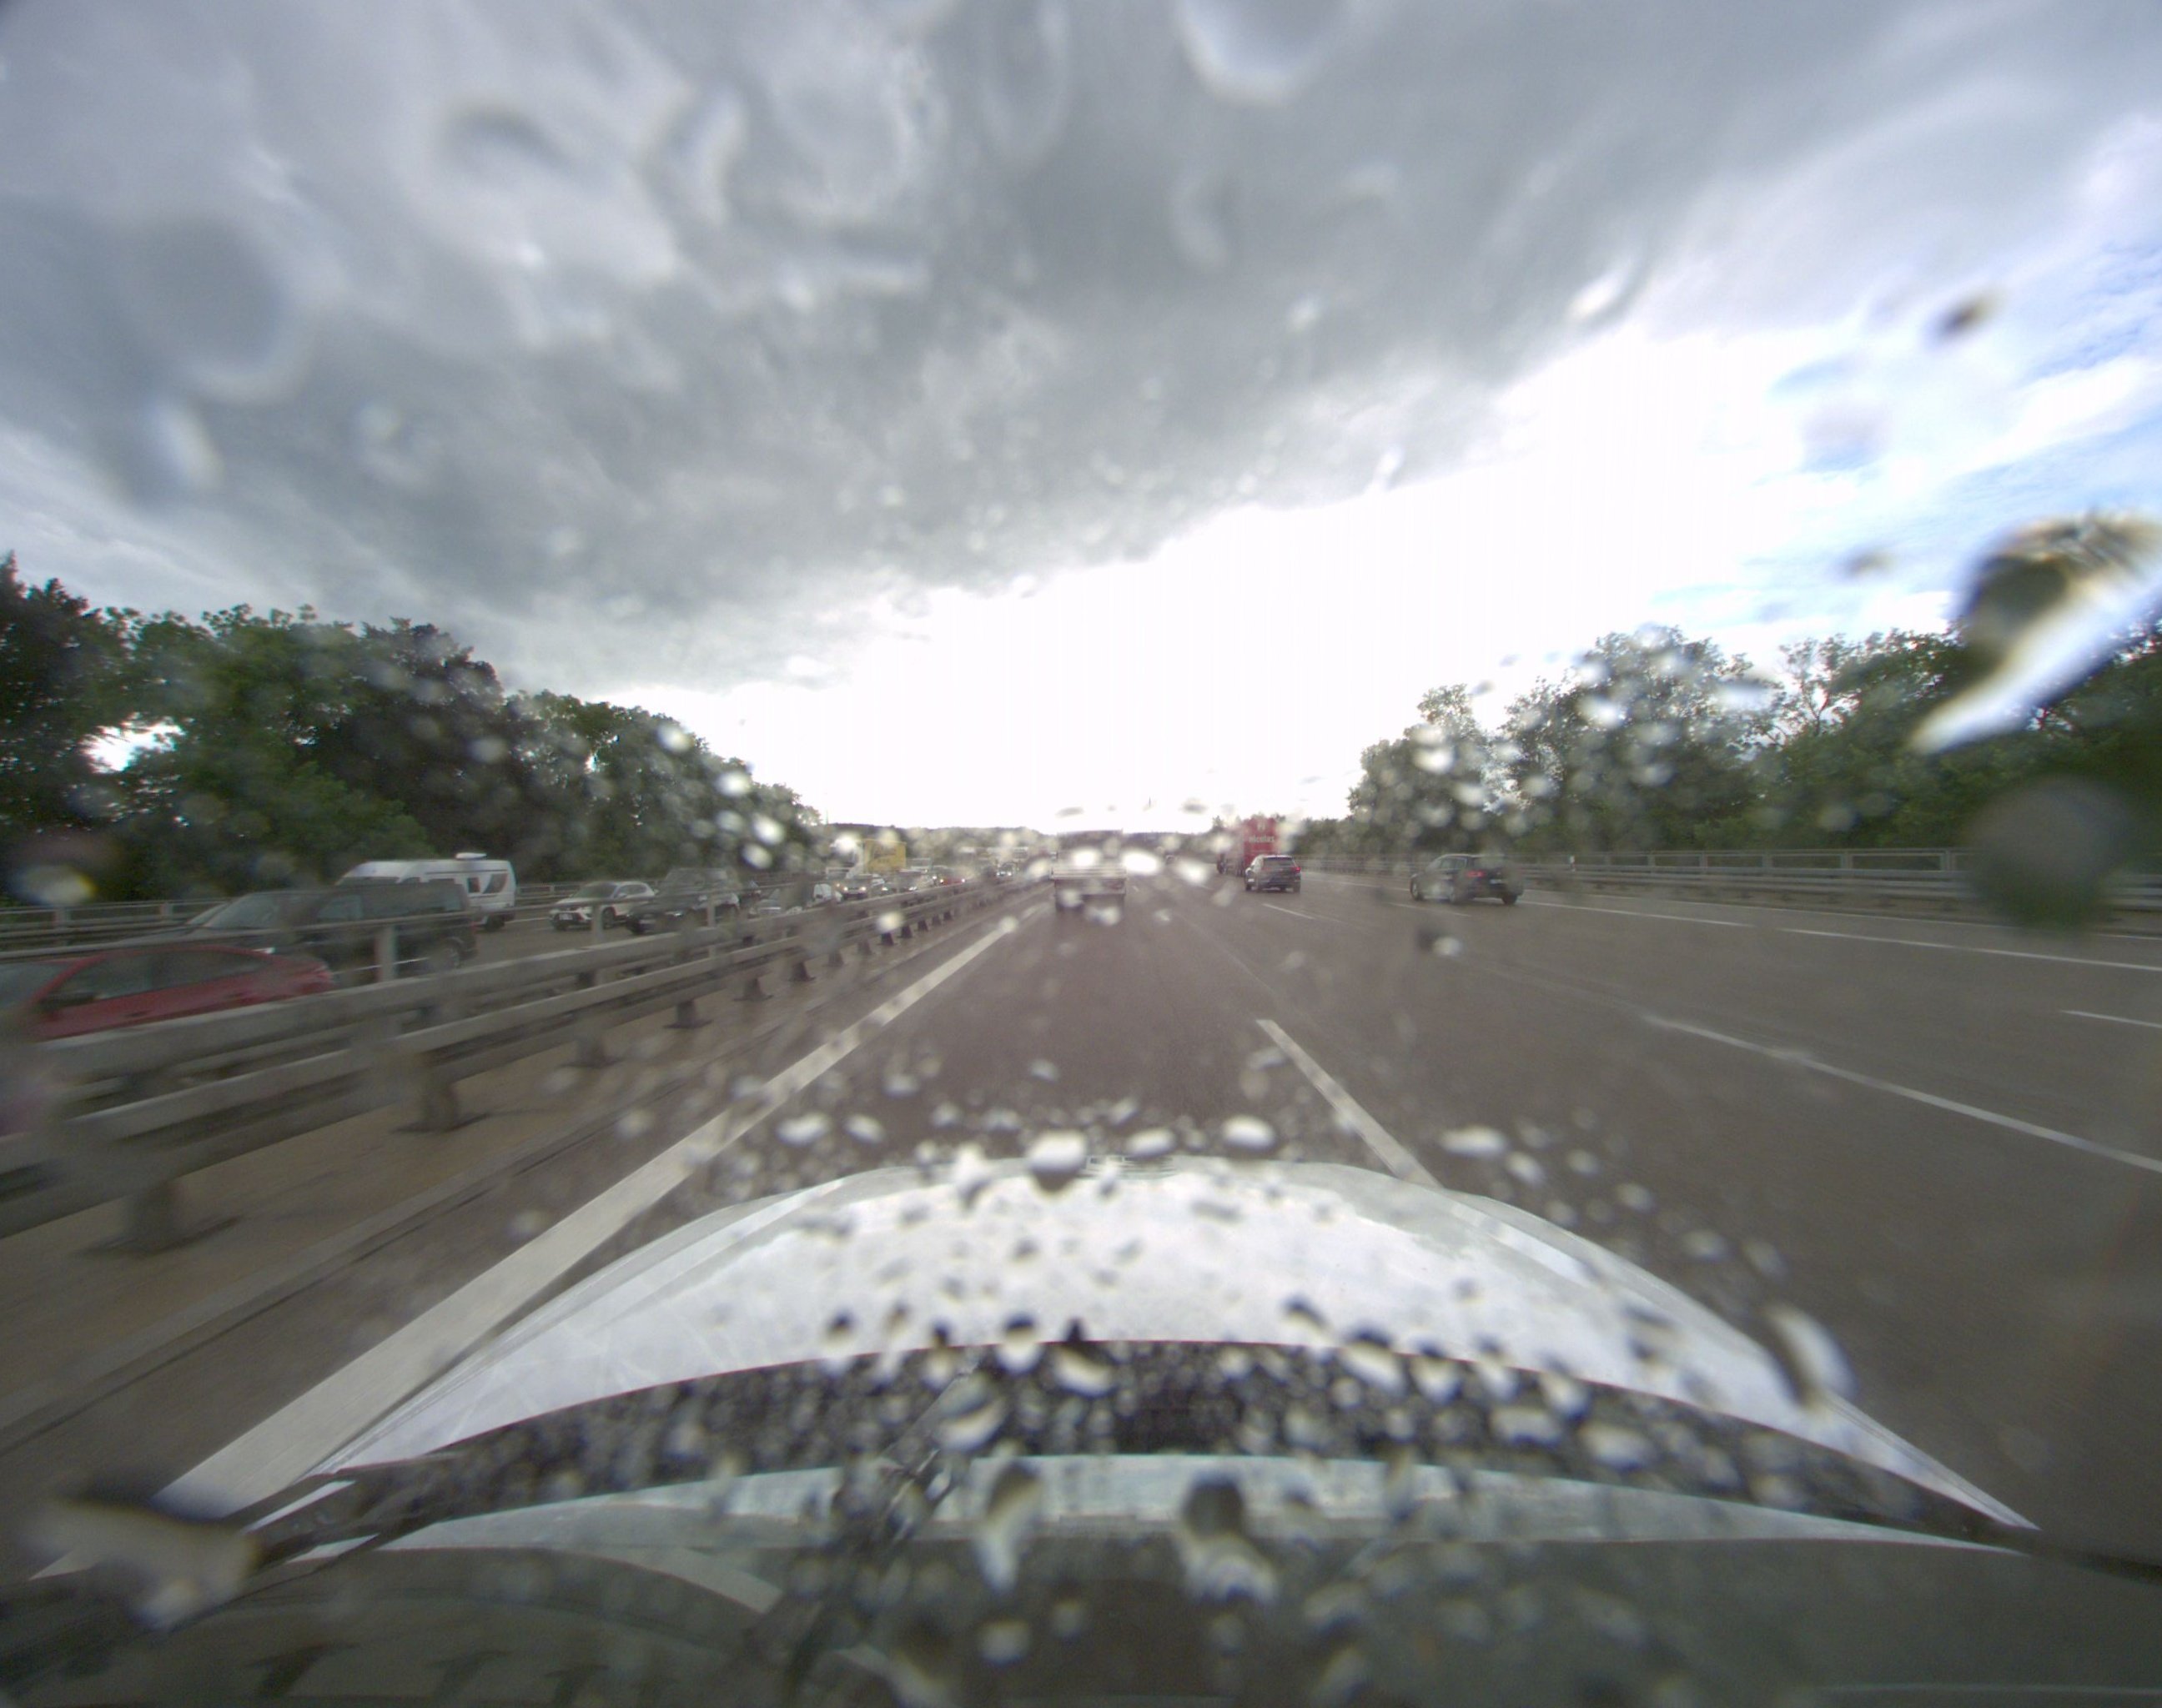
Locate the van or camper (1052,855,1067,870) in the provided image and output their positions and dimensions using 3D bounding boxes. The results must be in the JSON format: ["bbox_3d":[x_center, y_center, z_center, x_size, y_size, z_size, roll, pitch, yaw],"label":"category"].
[{"bbox_3d":[-3.898,1.577,148.311,2.269,2.496,7.306,-2,-1,2],"label":"van or camper"}]

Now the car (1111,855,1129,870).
[{"bbox_3d":[4.602,0.943,95.653,2.036,1.699,4.004,-1,0,4],"label":"car"}]

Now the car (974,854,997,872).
[{"bbox_3d":[-13.596,1.251,116.859,2.147,2.504,6.776,-2,-1,2],"label":"car"}]

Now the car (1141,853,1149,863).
[{"bbox_3d":[17.345,1.062,221.905,2.036,2.498,4.004,-1,0,4],"label":"car"}]

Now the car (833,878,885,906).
[{"bbox_3d":[-12.986,2.203,47.911,1.811,1.425,4.475,-2,-1,-1],"label":"car"}]

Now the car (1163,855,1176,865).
[{"bbox_3d":[16.336,1.129,150.479,2.038,1.699,5.007,-1,0,1],"label":"car"}]

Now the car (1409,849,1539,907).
[{"bbox_3d":[11.556,0.653,24.329,1.808,1.543,4.358,-1,0,1],"label":"car"}]

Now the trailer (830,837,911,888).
[{"bbox_3d":[-19.551,0.805,77.033,3.235,4.228,14.517,-2,-1,2],"label":"trailer"}]

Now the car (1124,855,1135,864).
[{"bbox_3d":[10.032,1.135,167.835,1.965,1.699,4.000,-1,0,1],"label":"car"}]

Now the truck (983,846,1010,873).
[{"bbox_3d":[-13.334,0.847,129.332,2.891,4.147,7.109,-2,-1,4],"label":"truck"}]

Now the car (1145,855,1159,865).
[{"bbox_3d":[12.550,1.124,143.619,2.090,1.699,4.000,-1,0,1],"label":"car"}]

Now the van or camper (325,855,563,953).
[{"bbox_3d":[-20.802,1.459,27.270,2.194,2.765,7.230,-2,0,0],"label":"van or camper"}]

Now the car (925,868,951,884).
[{"bbox_3d":[-14.604,2.264,83.373,1.742,1.479,4.418,-2,-1,1],"label":"car"}]

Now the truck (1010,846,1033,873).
[{"bbox_3d":[-9.725,0.871,133.754,2.869,4.180,7.561,-2,-1,2],"label":"truck"}]

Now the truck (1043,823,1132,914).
[{"bbox_3d":[0.222,0.394,25.346,2.345,2.408,7.358,-1,0,1],"label":"truck"}]

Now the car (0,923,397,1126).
[{"bbox_3d":[-10.085,1.640,8.174,1.868,1.392,5.364,-2,0,0],"label":"car"}]

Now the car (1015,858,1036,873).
[{"bbox_3d":[-6.799,1.405,100.348,1.906,1.766,5.334,-2,0,2],"label":"car"}]

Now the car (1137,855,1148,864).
[{"bbox_3d":[12.109,1.160,161.067,2.036,1.699,4.004,-1,0,4],"label":"car"}]

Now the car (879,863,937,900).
[{"bbox_3d":[-8.893,1.374,42.372,1.861,1.670,5.173,-2,0,0],"label":"car"}]

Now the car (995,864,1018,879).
[{"bbox_3d":[-7.478,1.750,82.036,1.756,1.383,4.821,-2,-1,1],"label":"car"}]

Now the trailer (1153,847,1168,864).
[{"bbox_3d":[20.272,0.517,208.336,3.318,4.176,11.851,-1,0,4],"label":"trailer"}]

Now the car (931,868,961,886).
[{"bbox_3d":[-11.905,1.996,72.019,1.803,1.480,5.218,-2,-1,0],"label":"car"}]

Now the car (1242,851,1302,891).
[{"bbox_3d":[7.985,0.684,34.368,1.785,1.562,3.724,-1,-1,3],"label":"car"}]

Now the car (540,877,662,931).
[{"bbox_3d":[-17.152,1.733,29.366,1.722,1.612,4.462,-2,0,-1],"label":"car"}]

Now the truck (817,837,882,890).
[{"bbox_3d":[-19.835,0.778,70.244,3.235,4.250,6.885,-2,-1,2],"label":"truck"}]

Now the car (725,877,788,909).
[{"bbox_3d":[-16.761,1.979,42.251,1.628,1.418,3.999,-2,-1,-1],"label":"car"}]

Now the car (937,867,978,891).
[{"bbox_3d":[-8.291,1.640,55.059,1.988,1.463,4.841,-2,0,0],"label":"car"}]

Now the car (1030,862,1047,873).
[{"bbox_3d":[-6.169,1.943,118.859,2.007,1.387,5.462,-2,-1,2],"label":"car"}]

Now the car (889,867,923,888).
[{"bbox_3d":[-15.177,2.057,70.882,1.987,1.662,4.000,-2,0,1],"label":"car"}]

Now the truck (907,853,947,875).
[{"bbox_3d":[-18.289,1.159,97.286,2.670,2.371,9.279,-2,-1,2],"label":"truck"}]

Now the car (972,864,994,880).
[{"bbox_3d":[-10.237,1.862,85.431,1.742,1.577,4.418,-2,-1,1],"label":"car"}]

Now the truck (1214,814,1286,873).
[{"bbox_3d":[12.801,-0.700,63.231,3.139,4.003,15.650,-1,0,3],"label":"truck"}]

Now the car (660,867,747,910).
[{"bbox_3d":[-19.720,1.735,42.825,1.987,2.014,5.411,-2,-1,0],"label":"car"}]

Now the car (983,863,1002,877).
[{"bbox_3d":[-10.935,1.977,100.877,1.742,1.577,4.689,-2,-1,1],"label":"car"}]

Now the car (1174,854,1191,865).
[{"bbox_3d":[15.833,0.825,127.788,2.098,1.605,5.066,-1,0,1],"label":"car"}]

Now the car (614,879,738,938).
[{"bbox_3d":[-13.258,1.718,27.022,1.857,1.612,4.462,-2,0,-1],"label":"car"}]

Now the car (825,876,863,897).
[{"bbox_3d":[-16.095,2.181,55.481,1.443,1.300,3.999,-2,-1,0],"label":"car"}]

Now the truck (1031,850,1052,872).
[{"bbox_3d":[-7.791,1.453,162.812,2.972,4.149,12.529,-2,-1,2],"label":"truck"}]

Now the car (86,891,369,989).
[{"bbox_3d":[-17.554,1.690,17.088,1.671,1.579,3.999,-2,0,0],"label":"car"}]

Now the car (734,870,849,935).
[{"bbox_3d":[-9.770,1.557,28.065,1.860,1.826,5.708,-2,0,0],"label":"car"}]

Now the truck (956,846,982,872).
[{"bbox_3d":[-17.740,0.790,129.414,2.747,3.994,6.583,-2,-1,4],"label":"truck"}]

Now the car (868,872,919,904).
[{"bbox_3d":[-10.863,1.938,47.375,1.850,1.708,4.001,-2,-1,2],"label":"car"}]

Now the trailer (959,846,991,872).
[{"bbox_3d":[-17.410,0.835,134.822,2.746,3.994,12.318,-2,-1,4],"label":"trailer"}]

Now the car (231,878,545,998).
[{"bbox_3d":[-13.624,1.526,16.563,1.885,1.902,5.005,-2,-1,3],"label":"car"}]
